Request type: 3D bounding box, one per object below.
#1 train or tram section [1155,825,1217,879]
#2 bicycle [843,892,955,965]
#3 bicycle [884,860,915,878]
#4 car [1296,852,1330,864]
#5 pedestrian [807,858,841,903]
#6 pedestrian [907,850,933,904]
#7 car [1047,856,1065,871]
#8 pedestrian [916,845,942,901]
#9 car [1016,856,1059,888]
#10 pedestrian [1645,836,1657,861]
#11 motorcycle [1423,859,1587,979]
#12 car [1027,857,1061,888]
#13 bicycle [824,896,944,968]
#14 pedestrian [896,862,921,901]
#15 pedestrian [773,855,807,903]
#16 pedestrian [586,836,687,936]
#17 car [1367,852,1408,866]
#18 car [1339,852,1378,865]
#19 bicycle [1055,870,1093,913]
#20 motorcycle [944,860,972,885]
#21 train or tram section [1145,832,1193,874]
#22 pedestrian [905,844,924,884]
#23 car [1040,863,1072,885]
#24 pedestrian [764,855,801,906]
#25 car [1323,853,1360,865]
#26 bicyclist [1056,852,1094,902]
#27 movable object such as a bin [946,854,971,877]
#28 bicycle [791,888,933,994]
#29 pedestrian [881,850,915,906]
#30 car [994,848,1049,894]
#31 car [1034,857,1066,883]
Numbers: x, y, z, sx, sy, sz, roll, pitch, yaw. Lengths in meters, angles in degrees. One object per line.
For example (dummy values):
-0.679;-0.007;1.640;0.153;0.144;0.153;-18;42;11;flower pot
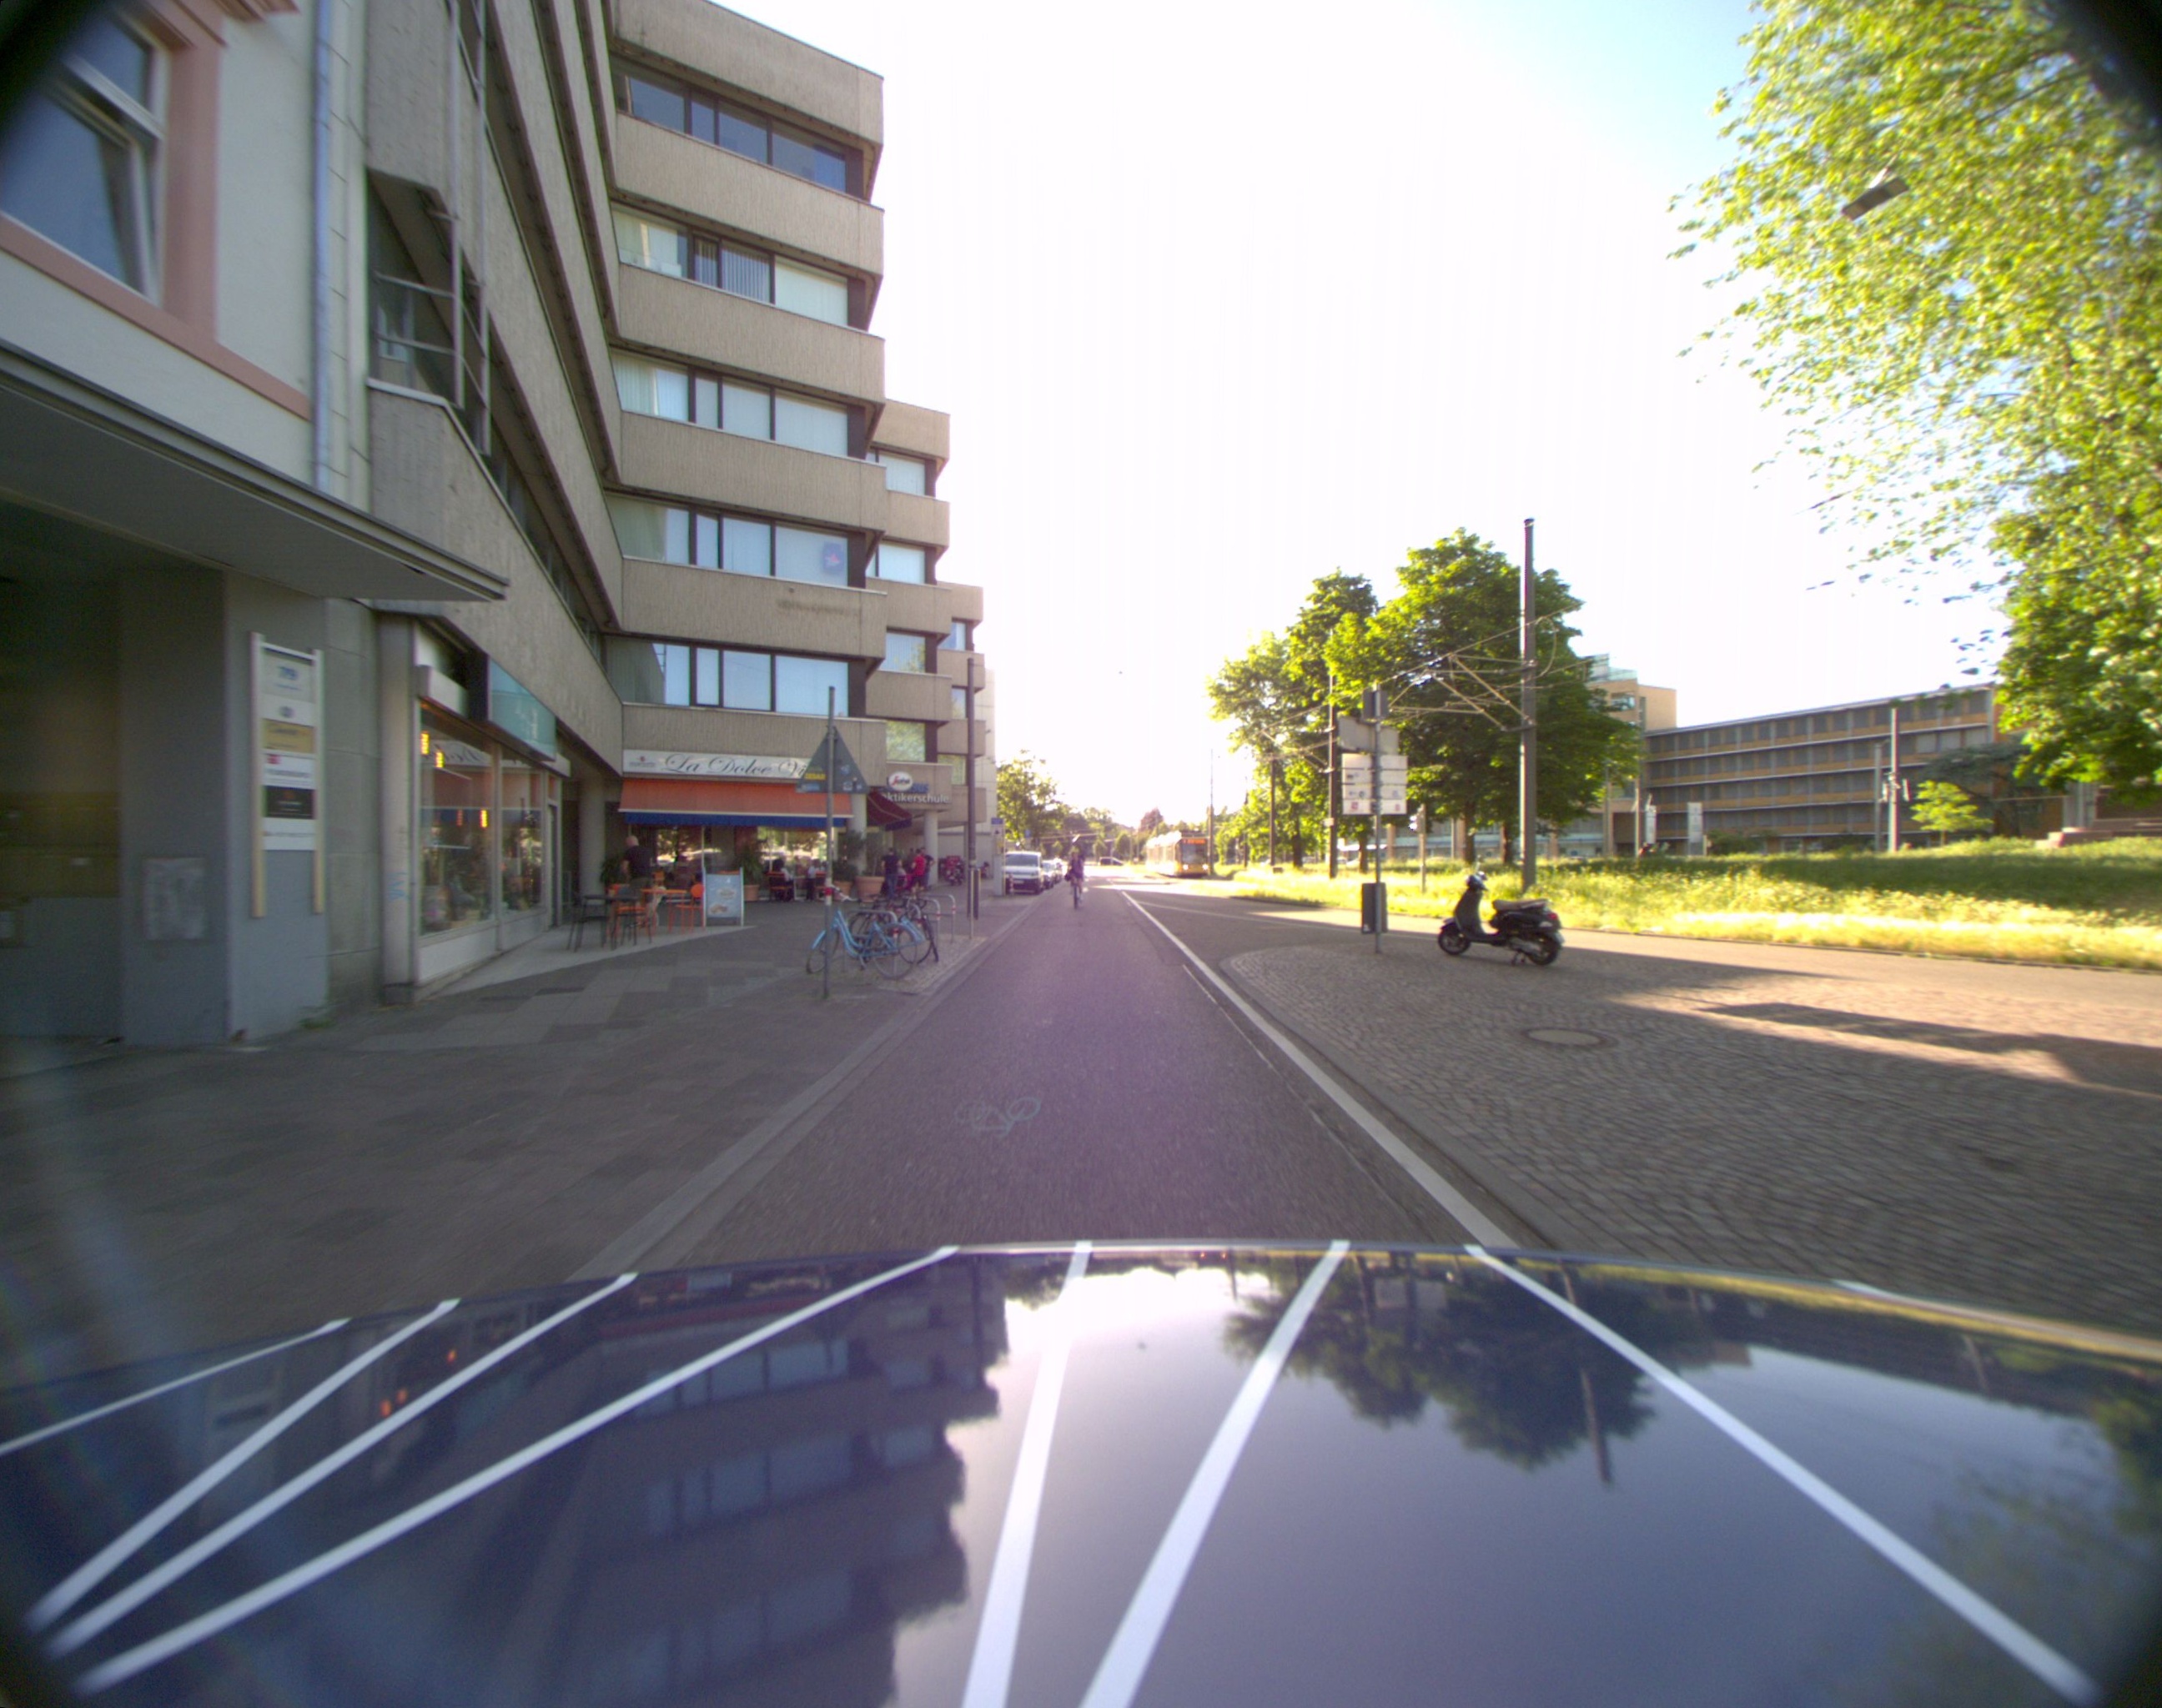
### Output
7.854;-0.139;58.882;2.956;3.663;13.184;-1;0;0;train or tram section
-2.791;1.130;11.613;1.681;1.056;0.344;-1;2;17;bicycle
-10.685;0.895;44.652;1.853;0.975;0.683;-2;0;35;bicycle
32.365;0.537;106.123;2.002;1.508;4.652;-2;1;-25;car
-7.686;0.780;22.729;0.844;1.285;0.830;1;1;-11;pedestrian
-5.201;0.737;24.618;0.585;1.705;0.698;-2;2;4;pedestrian
-2.469;0.966;76.280;1.770;1.430;4.582;0;0;-2;car
-5.103;0.625;25.551;0.672;1.846;0.610;2;2;4;pedestrian
-2.232;0.919;40.283;1.778;1.445;4.730;-2;1;3;car
35.929;-0.347;47.874;0.553;1.606;0.676;0;2;38;pedestrian
5.442;0.775;9.877;0.749;1.366;1.757;-2;2;-23;motorcycle
-2.228;1.101;46.775;1.856;1.679;3.866;-2;1;0;car
-2.912;1.146;11.248;1.706;0.998;0.428;-1;2;17;bicycle
-5.762;0.905;25.353;0.631;1.229;0.624;1;2;4;pedestrian
-8.615;0.727;22.477;0.845;1.394;0.829;-1;0;-24;pedestrian
-8.054;0.555;13.819;1.020;1.733;1.137;-1;2;14;pedestrian
38.013;0.592;94.378;2.002;1.587;4.646;-2;1;-25;car
36.074;0.559;98.899;2.002;1.439;5.010;-2;1;-21;car
-0.189;1.126;23.434;0.887;1.129;2.229;-2;1;6;bicycle
-6.240;0.911;38.657;0.765;1.148;2.048;2;2;10;motorcycle
8.090;-0.078;71.925;2.956;3.591;13.634;-1;0;0;train or tram section
-7.677;0.464;35.017;0.706;1.805;0.715;-2;2;-16;pedestrian
-1.783;1.413;55.683;1.855;1.336;4.599;-2;1;3;car
-8.454;0.737;21.526;0.845;1.394;0.751;-2;1;-29;pedestrian
38.501;0.675;112.392;2.127;1.659;5.200;-2;1;-24;car
-0.181;0.688;23.541;1.040;1.475;0.988;-2;2;5;bicyclist
-8.087;0.746;50.142;1.303;1.425;0.959;-2;2;8;movable object such as a bin
-2.813;1.088;9.766;1.623;1.236;0.660;-1;2;21;bicycle
-5.664;0.727;23.514;0.845;1.700;0.718;1;0;-27;pedestrian
-2.528;0.673;33.271;1.998;1.802;4.308;-2;1;0;car
-2.016;1.016;50.761;1.675;1.510;4.199;-2;1;3;car
